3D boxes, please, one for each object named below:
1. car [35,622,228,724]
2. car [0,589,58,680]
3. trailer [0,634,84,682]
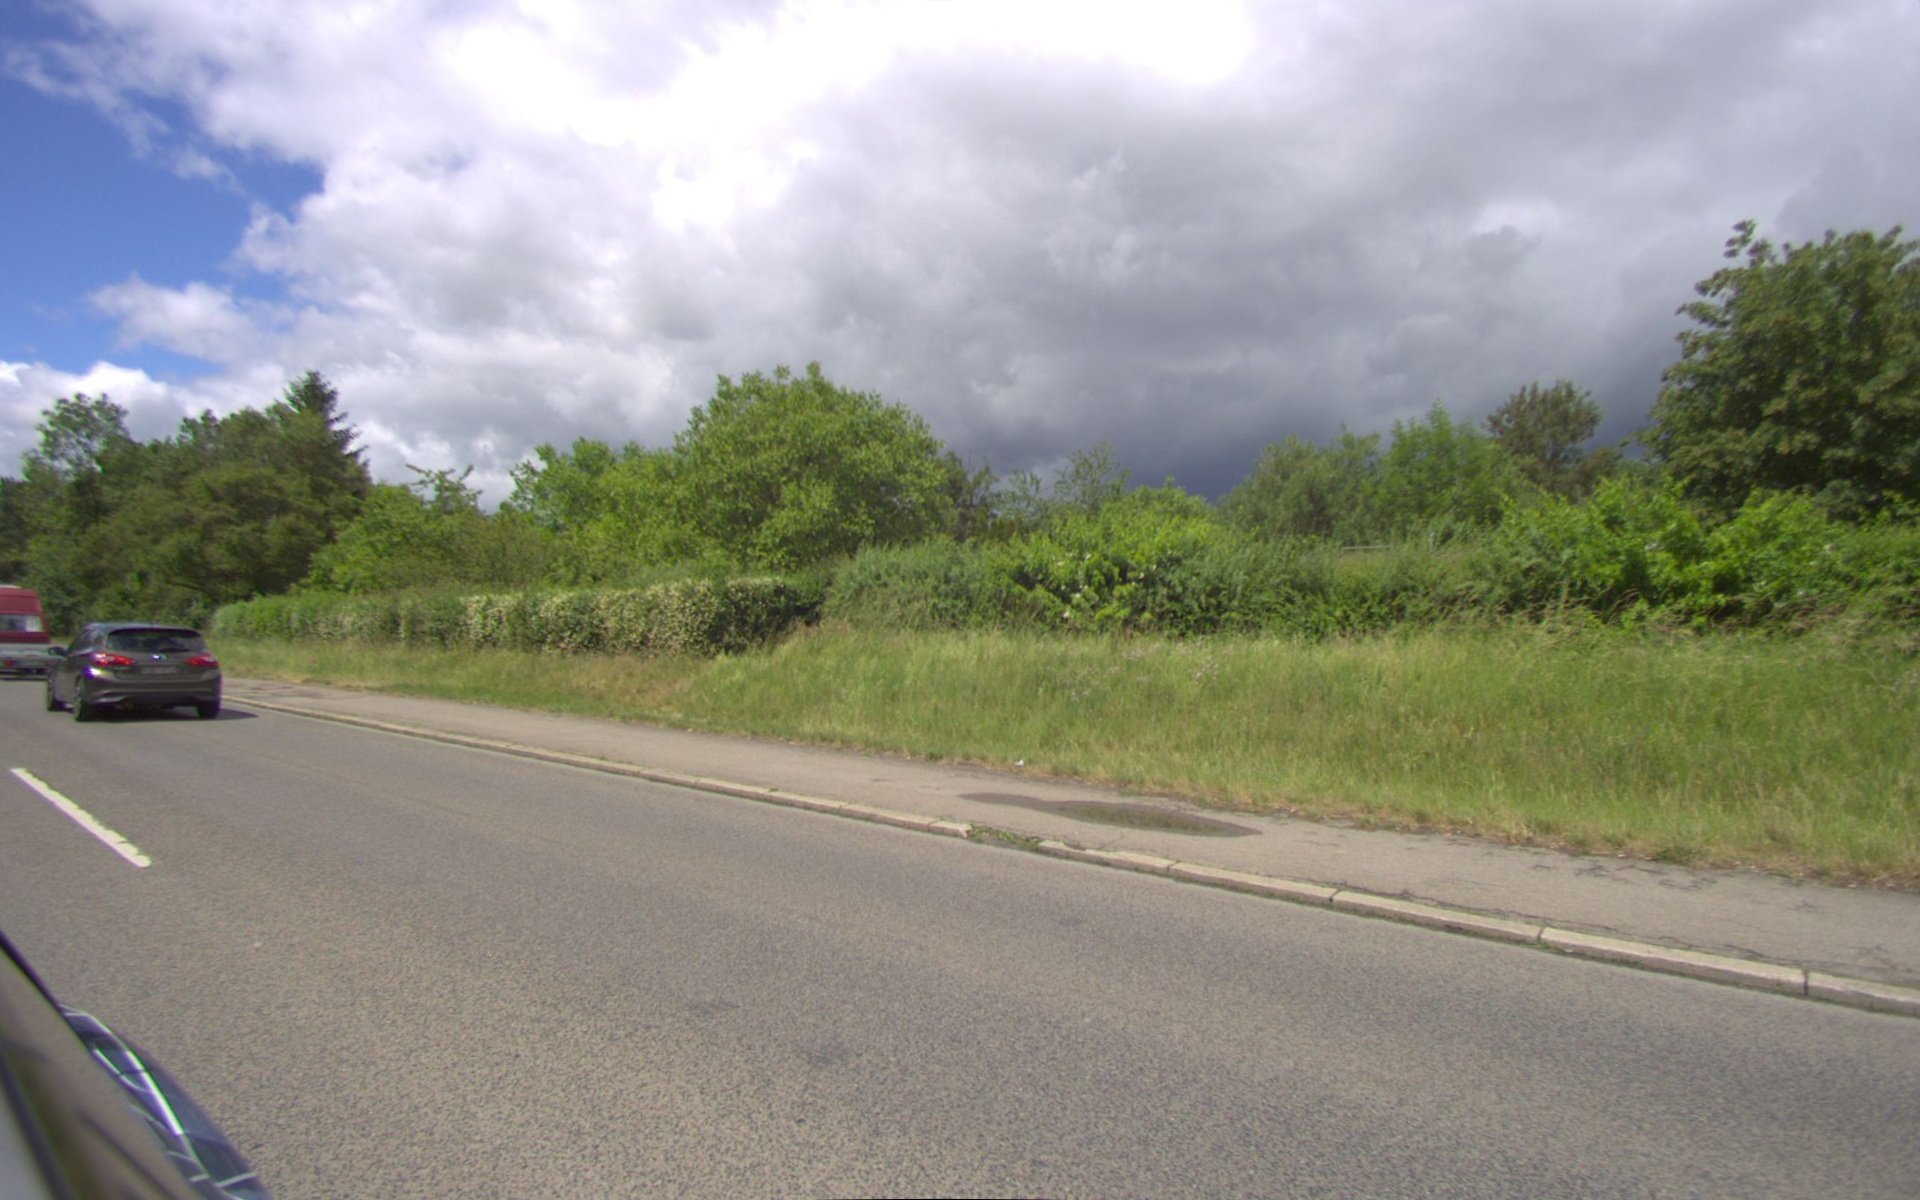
[{"bbox_3d":[-13.649,1.142,16.599,3.997,1.482,1.698,-1,-4,40],"label":"car"},{"bbox_3d":[-28.775,1.021,30.271,4.722,2.570,1.948,-1,-4,41],"label":"car"},{"bbox_3d":[-25.263,1.540,27.295,3.914,1.209,1.872,-1,-4,41],"label":"trailer"}]
